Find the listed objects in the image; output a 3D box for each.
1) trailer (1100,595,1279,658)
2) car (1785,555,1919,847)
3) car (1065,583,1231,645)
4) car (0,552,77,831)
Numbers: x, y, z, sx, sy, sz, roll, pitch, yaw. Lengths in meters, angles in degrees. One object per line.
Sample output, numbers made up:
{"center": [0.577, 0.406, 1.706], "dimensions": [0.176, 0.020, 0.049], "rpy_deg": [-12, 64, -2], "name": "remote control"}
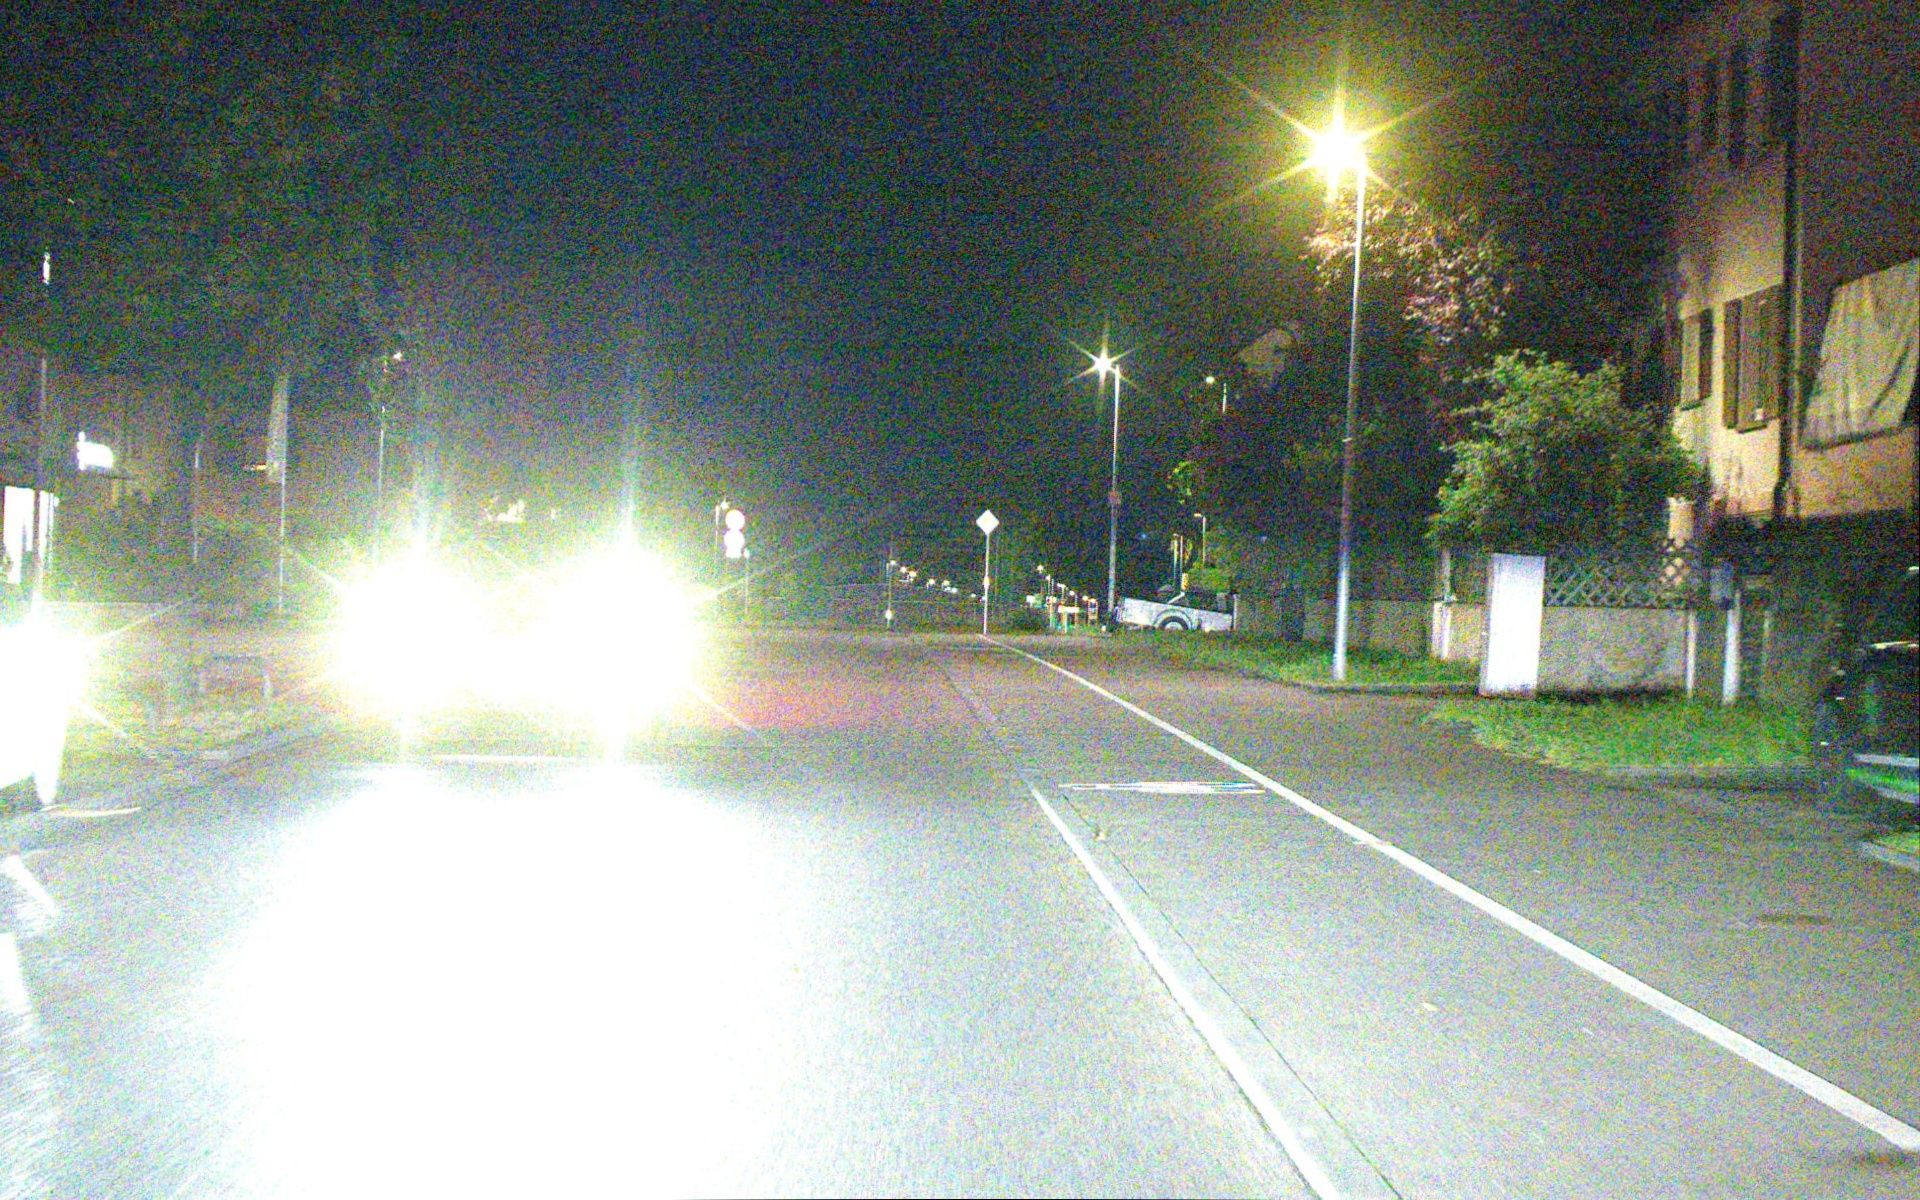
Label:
{"center": [4.676, 0.526, 70.515], "dimensions": [3.432, 0.999, 1.954], "rpy_deg": [5, 0, -2], "name": "trailer"}
{"center": [5.910, 0.539, 19.037], "dimensions": [1.639, 1.554, 3.679], "rpy_deg": [1, 1, -2], "name": "car"}
{"center": [4.047, 0.296, 74.427], "dimensions": [3.391, 1.228, 1.725], "rpy_deg": [1, 1, -3], "name": "car"}
{"center": [-5.936, 0.470, 17.932], "dimensions": [1.749, 1.463, 4.009], "rpy_deg": [2, 1, -3], "name": "car"}
